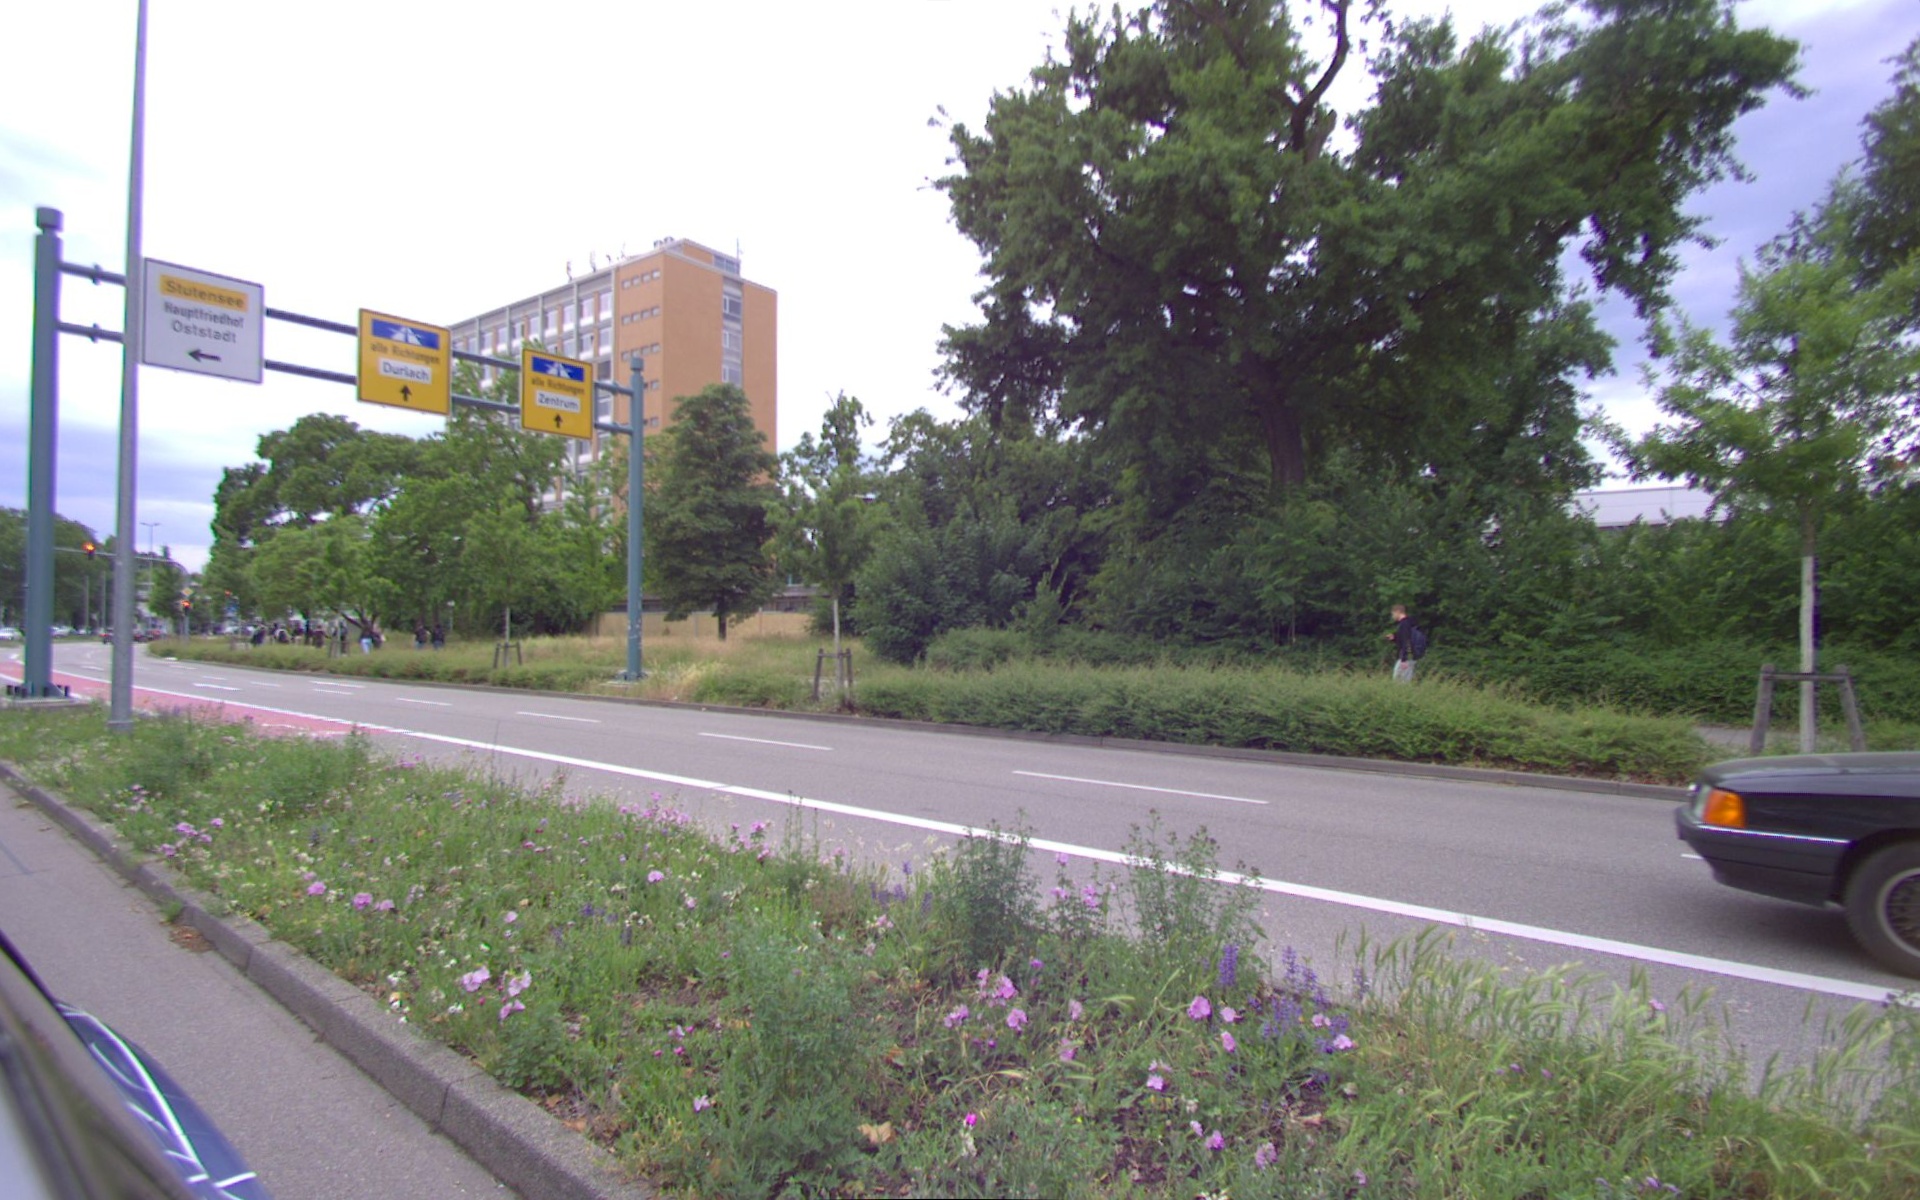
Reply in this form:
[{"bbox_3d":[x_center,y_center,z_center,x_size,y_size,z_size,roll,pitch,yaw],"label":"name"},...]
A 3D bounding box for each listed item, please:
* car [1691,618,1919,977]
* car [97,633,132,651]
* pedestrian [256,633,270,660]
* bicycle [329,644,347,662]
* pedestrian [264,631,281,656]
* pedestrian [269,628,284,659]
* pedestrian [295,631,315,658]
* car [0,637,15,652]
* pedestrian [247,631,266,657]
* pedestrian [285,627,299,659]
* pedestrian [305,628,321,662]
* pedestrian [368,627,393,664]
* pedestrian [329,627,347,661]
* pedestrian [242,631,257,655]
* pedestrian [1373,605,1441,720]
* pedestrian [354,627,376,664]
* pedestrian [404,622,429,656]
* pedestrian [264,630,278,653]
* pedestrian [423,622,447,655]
[{"bbox_3d":[5.765,0.831,3.805,4.787,1.471,1.746,-1,-4,40],"label":"car"},{"bbox_3d":[-85.182,4.212,101.973,1.785,1.680,3.962,2,-2,-27],"label":"car"},{"bbox_3d":[-47.836,3.175,69.418,0.762,1.815,0.630,-3,-3,44],"label":"pedestrian"},{"bbox_3d":[-30.727,2.610,49.979,0.652,0.895,1.719,3,-4,-34],"label":"bicycle"},{"bbox_3d":[-41.357,2.627,60.891,0.762,1.491,0.628,-3,-4,44],"label":"pedestrian"},{"bbox_3d":[-37.629,2.399,55.714,0.613,1.708,0.748,3,-4,-37],"label":"pedestrian"},{"bbox_3d":[-39.678,2.711,61.311,0.823,1.625,0.631,-2,-1,19],"label":"pedestrian"},{"bbox_3d":[-105.109,4.841,110.406,1.774,1.608,3.771,2,-3,-24],"label":"car"},{"bbox_3d":[-41.909,2.618,60.300,0.813,1.491,0.720,-3,-4,44],"label":"pedestrian"},{"bbox_3d":[-37.195,2.402,56.344,0.571,1.725,0.763,3,-4,-36],"label":"pedestrian"},{"bbox_3d":[-31.400,2.182,49.103,0.567,1.621,0.618,2,-4,-33],"label":"pedestrian"},{"bbox_3d":[-26.874,2.125,46.929,0.766,1.685,0.700,-2,-4,35],"label":"pedestrian"},{"bbox_3d":[-30.724,2.191,50.001,0.652,1.644,0.765,3,-4,-34],"label":"pedestrian"},{"bbox_3d":[-50.678,3.050,72.208,0.943,1.683,0.698,-3,-2,44],"label":"pedestrian"},{"bbox_3d":[7.001,0.975,15.869,0.818,1.742,0.613,-2,-4,41],"label":"pedestrian"},{"bbox_3d":[-27.270,2.096,46.392,0.719,1.673,0.580,-2,-4,35],"label":"pedestrian"},{"bbox_3d":[-22.246,1.584,41.432,0.711,1.368,0.638,-2,-4,40],"label":"pedestrian"},{"bbox_3d":[-49.866,3.007,73.228,0.890,1.683,0.698,-3,-2,45],"label":"pedestrian"},{"bbox_3d":[-21.818,1.598,42.051,0.680,1.373,0.638,-2,-4,39],"label":"pedestrian"}]
